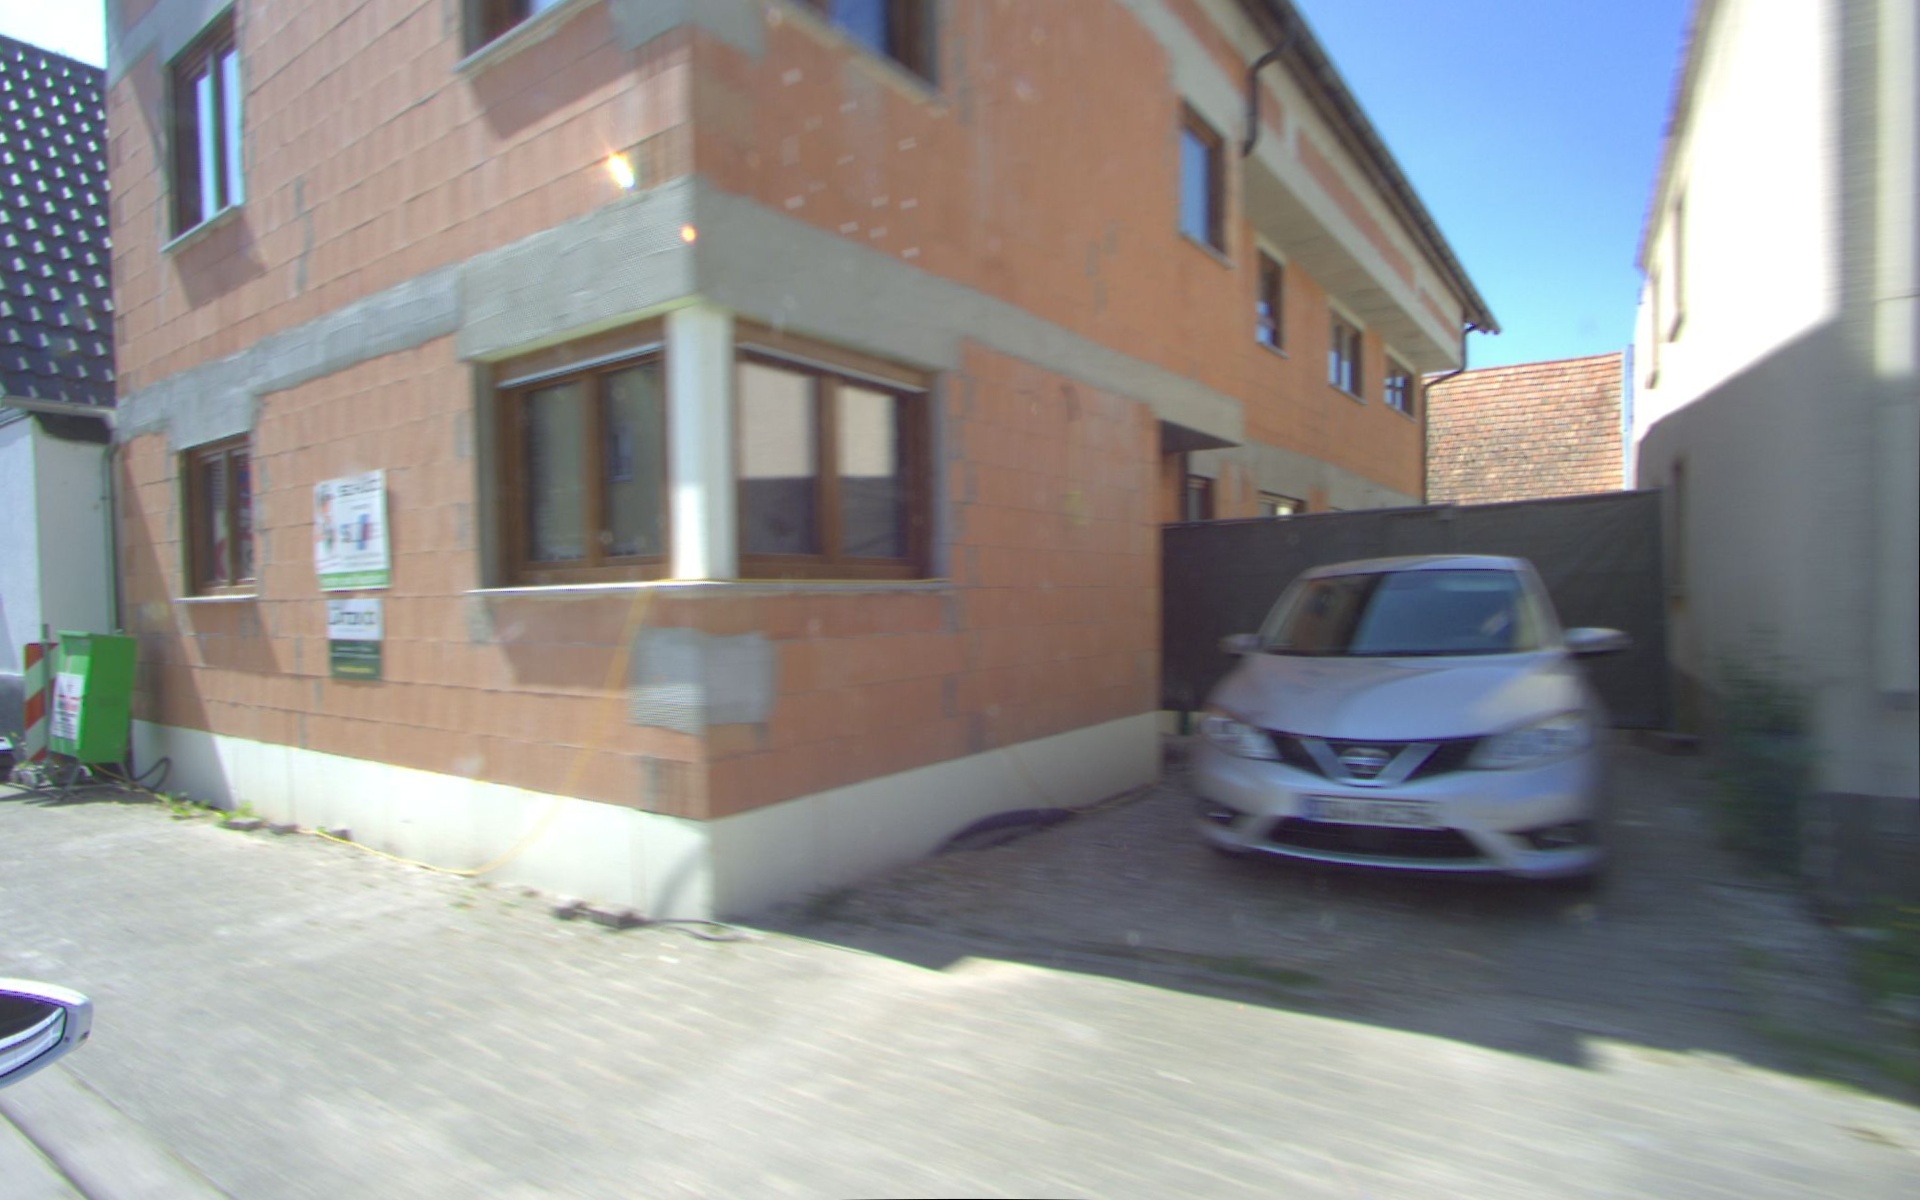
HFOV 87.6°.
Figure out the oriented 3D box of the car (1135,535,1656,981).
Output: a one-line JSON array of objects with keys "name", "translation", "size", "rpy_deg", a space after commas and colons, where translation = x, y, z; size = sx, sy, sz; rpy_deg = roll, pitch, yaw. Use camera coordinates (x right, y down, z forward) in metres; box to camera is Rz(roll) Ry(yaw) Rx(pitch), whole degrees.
[{"name": "car", "translation": [2.543, 0.503, 5.651], "size": [1.842, 1.528, 4.082], "rpy_deg": [-1, 1, 29]}]
